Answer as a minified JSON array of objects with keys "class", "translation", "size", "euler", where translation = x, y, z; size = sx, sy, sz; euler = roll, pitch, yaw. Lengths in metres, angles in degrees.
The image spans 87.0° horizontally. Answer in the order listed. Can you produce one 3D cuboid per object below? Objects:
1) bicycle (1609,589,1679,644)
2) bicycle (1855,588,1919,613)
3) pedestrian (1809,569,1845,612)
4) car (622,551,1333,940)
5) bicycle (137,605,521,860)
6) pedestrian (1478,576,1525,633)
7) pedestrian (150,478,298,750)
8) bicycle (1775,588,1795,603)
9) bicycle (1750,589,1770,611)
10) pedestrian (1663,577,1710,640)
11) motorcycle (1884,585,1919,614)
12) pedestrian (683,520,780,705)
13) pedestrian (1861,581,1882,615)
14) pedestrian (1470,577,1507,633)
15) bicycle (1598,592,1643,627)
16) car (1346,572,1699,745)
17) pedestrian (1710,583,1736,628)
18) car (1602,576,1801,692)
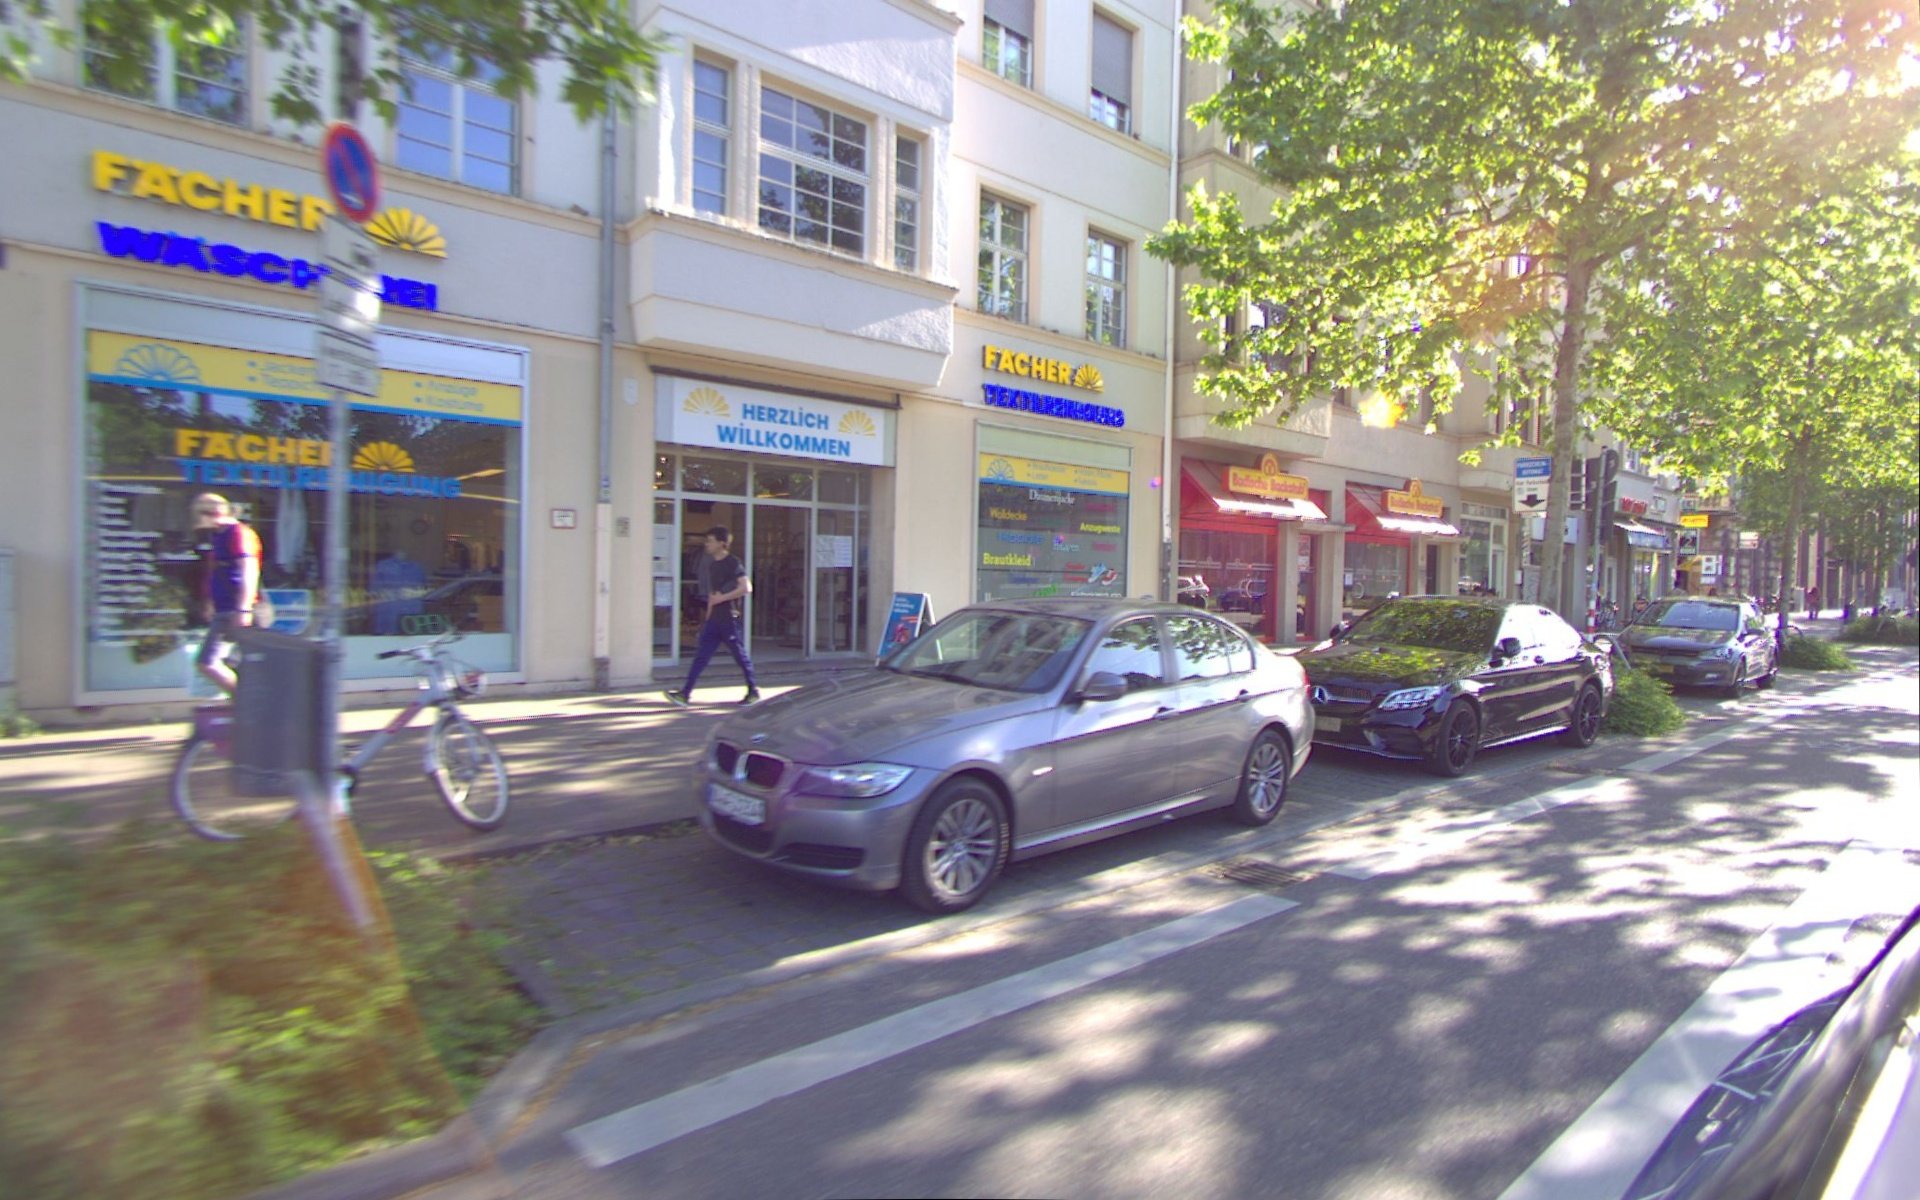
[{"class":"bicycle","translation":[15.540,0.365,22.977],"size":[1.834,1.222,0.387],"euler":[0,1,-23]},{"class":"bicycle","translation":[41.415,0.016,45.113],"size":[0.447,1.107,2.227],"euler":[-1,0,-39]},{"class":"pedestrian","translation":[42.100,-0.479,49.132],"size":[1.028,2.038,1.091],"euler":[-1,3,-40]},{"class":"car","translation":[0.388,0.557,6.236],"size":[4.360,1.574,1.792],"euler":[-1,1,-42]},{"class":"bicycle","translation":[-3.260,0.617,5.351],"size":[1.658,1.150,0.489],"euler":[0,1,-36]},{"class":"pedestrian","translation":[13.804,0.104,25.793],"size":[0.842,1.386,0.787],"euler":[-1,2,-40]},{"class":"pedestrian","translation":[-5.592,0.081,7.690],"size":[0.848,1.923,0.715],"euler":[-1,2,-41]},{"class":"bicycle","translation":[44.253,-0.240,54.308],"size":[1.634,0.783,0.550],"euler":[-1,4,-42]},{"class":"bicycle","translation":[38.950,-0.004,49.264],"size":[1.850,1.010,0.415],"euler":[-1,1,-42]},{"class":"pedestrian","translation":[20.583,0.225,28.665],"size":[0.901,1.725,0.860],"euler":[-1,3,-43]},{"class":"motorcycle","translation":[41.238,-0.035,43.691],"size":[0.507,1.246,1.950],"euler":[-1,0,-43]},{"class":"pedestrian","translation":[-2.245,0.109,9.954],"size":[0.757,1.732,0.559],"euler":[0,1,-41]},{"class":"pedestrian","translation":[50.219,-0.103,55.768],"size":[0.878,1.850,0.645],"euler":[-1,0,-32]},{"class":"pedestrian","translation":[13.161,0.121,25.209],"size":[0.806,1.348,0.536],"euler":[-1,2,-41]},{"class":"bicycle","translation":[20.490,0.283,31.368],"size":[2.578,1.037,0.491],"euler":[-1,1,-42]},{"class":"car","translation":[6.400,0.483,11.289],"size":[4.514,1.528,2.042],"euler":[-1,2,-41]},{"class":"pedestrian","translation":[28.059,0.194,37.214],"size":[0.553,1.642,0.682],"euler":[-1,0,-43]},{"class":"car","translation":[11.718,0.449,15.919],"size":[3.735,1.520,1.698],"euler":[0,4,-41]}]
